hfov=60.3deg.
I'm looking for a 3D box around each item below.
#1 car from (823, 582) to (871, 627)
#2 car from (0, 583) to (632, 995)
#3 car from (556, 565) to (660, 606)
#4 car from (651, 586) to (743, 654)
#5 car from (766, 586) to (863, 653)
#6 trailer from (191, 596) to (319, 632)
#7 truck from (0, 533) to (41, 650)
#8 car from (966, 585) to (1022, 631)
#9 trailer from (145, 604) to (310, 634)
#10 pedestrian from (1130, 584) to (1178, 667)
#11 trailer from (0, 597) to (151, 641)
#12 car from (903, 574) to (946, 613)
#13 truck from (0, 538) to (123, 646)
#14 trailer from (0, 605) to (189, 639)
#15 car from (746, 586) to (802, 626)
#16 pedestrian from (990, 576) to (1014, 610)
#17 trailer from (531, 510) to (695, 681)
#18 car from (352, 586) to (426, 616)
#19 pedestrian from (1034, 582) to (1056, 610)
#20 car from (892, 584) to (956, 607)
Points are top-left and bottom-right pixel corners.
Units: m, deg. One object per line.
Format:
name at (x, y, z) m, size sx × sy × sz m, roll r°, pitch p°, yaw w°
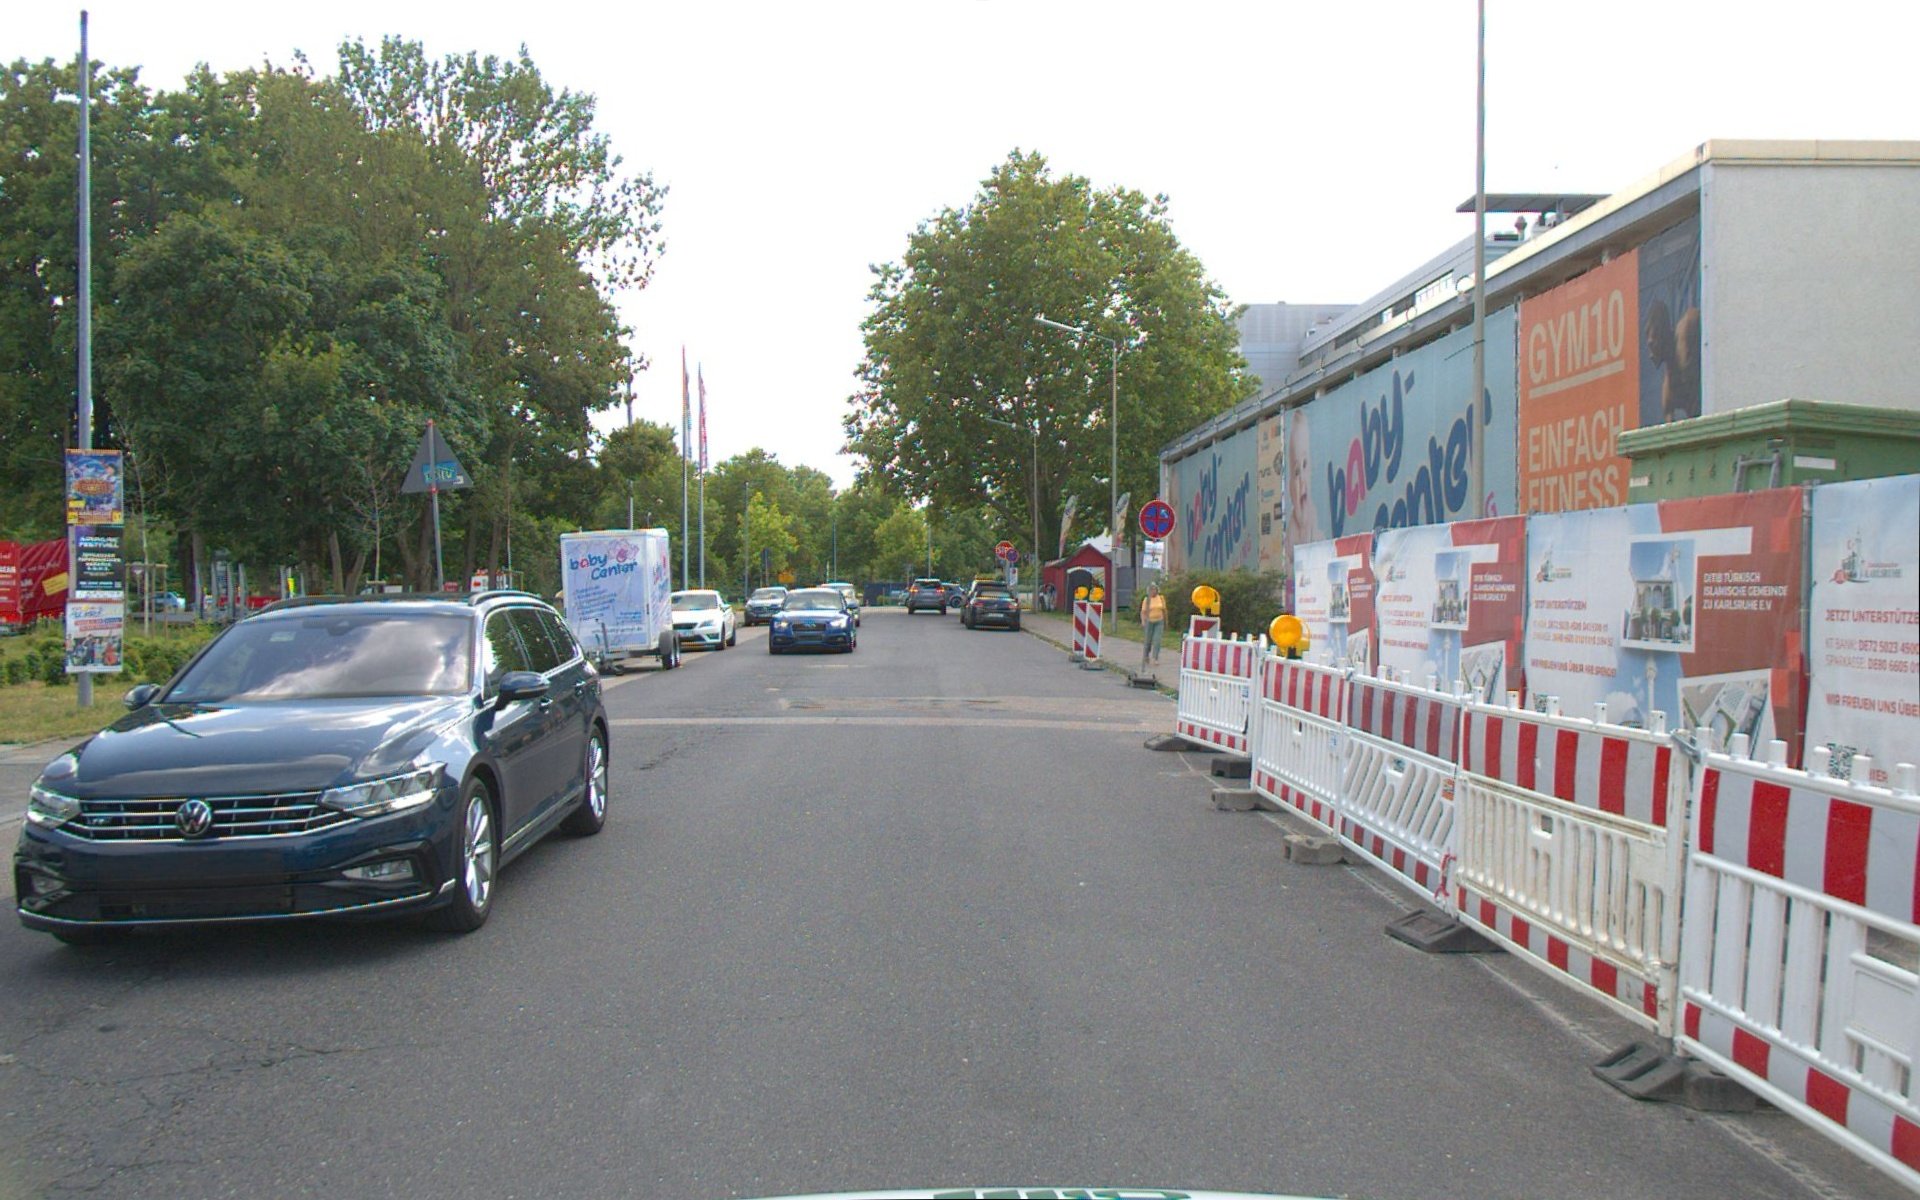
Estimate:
car at (-4.008, 0.135, 58.869) m, size 1.559 × 1.490 × 3.760 m, roll -2°, pitch 1°, yaw -2°
car at (-2.946, 0.686, 8.413) m, size 1.760 × 1.484 × 4.383 m, roll -2°, pitch 1°, yaw -2°
car at (-22.692, -0.940, 106.826) m, size 6.254 × 2.623 × 2.205 m, roll 0°, pitch 1°, yaw -2°
car at (-6.483, 0.460, 41.186) m, size 1.730 × 1.505 × 4.233 m, roll -3°, pitch 1°, yaw -3°
car at (-3.222, 0.402, 37.407) m, size 1.884 × 1.401 × 4.379 m, roll 0°, pitch 1°, yaw -1°
trailer at (-24.661, 0.492, 57.949) m, size 3.736 × 1.211 × 1.716 m, roll 0°, pitch 1°, yaw 4°
truck at (-24.515, -0.166, 38.109) m, size 5.636 × 2.639 × 1.815 m, roll 0°, pitch -1°, yaw 0°
car at (1.132, 0.247, 56.656) m, size 1.771 × 1.415 × 4.588 m, roll 2°, pitch 1°, yaw 0°
trailer at (-24.476, 0.621, 55.372) m, size 4.498 × 0.928 × 2.189 m, roll 0°, pitch 1°, yaw 3°
pedestrian at (3.717, 0.471, 31.785) m, size 0.668 × 1.560 × 1.128 m, roll 0°, pitch 0°, yaw -7°
trailer at (-23.895, 0.508, 43.706) m, size 4.150 × 1.140 × 1.670 m, roll 0°, pitch -1°, yaw -4°
car at (-1.768, -0.341, 81.443) m, size 1.923 × 1.847 × 4.273 m, roll 0°, pitch 1°, yaw -3°
truck at (-24.110, -0.178, 41.314) m, size 5.435 × 2.639 × 1.779 m, roll 0°, pitch -1°, yaw -1°
trailer at (-24.081, 0.620, 46.114) m, size 4.150 × 0.929 × 2.158 m, roll 0°, pitch -1°, yaw -4°
car at (-7.352, 0.207, 65.583) m, size 1.675 × 1.444 × 4.331 m, roll -3°, pitch 1°, yaw 0°
pedestrian at (2.348, -0.413, 92.411) m, size 0.985 × 1.881 × 1.222 m, roll 0°, pitch 0°, yaw -19°
trailer at (-6.328, -0.109, 30.739) m, size 2.097 × 2.831 × 4.701 m, roll -3°, pitch 1°, yaw -2°
car at (-44.825, 0.080, 129.864) m, size 5.183 × 2.250 × 1.796 m, roll -1°, pitch 0°, yaw -5°
pedestrian at (4.017, -0.191, 77.898) m, size 0.992 × 1.337 × 0.965 m, roll 0°, pitch 0°, yaw 6°
car at (-2.357, -0.297, 107.869) m, size 4.137 × 1.430 × 1.922 m, roll 0°, pitch 1°, yaw -4°
